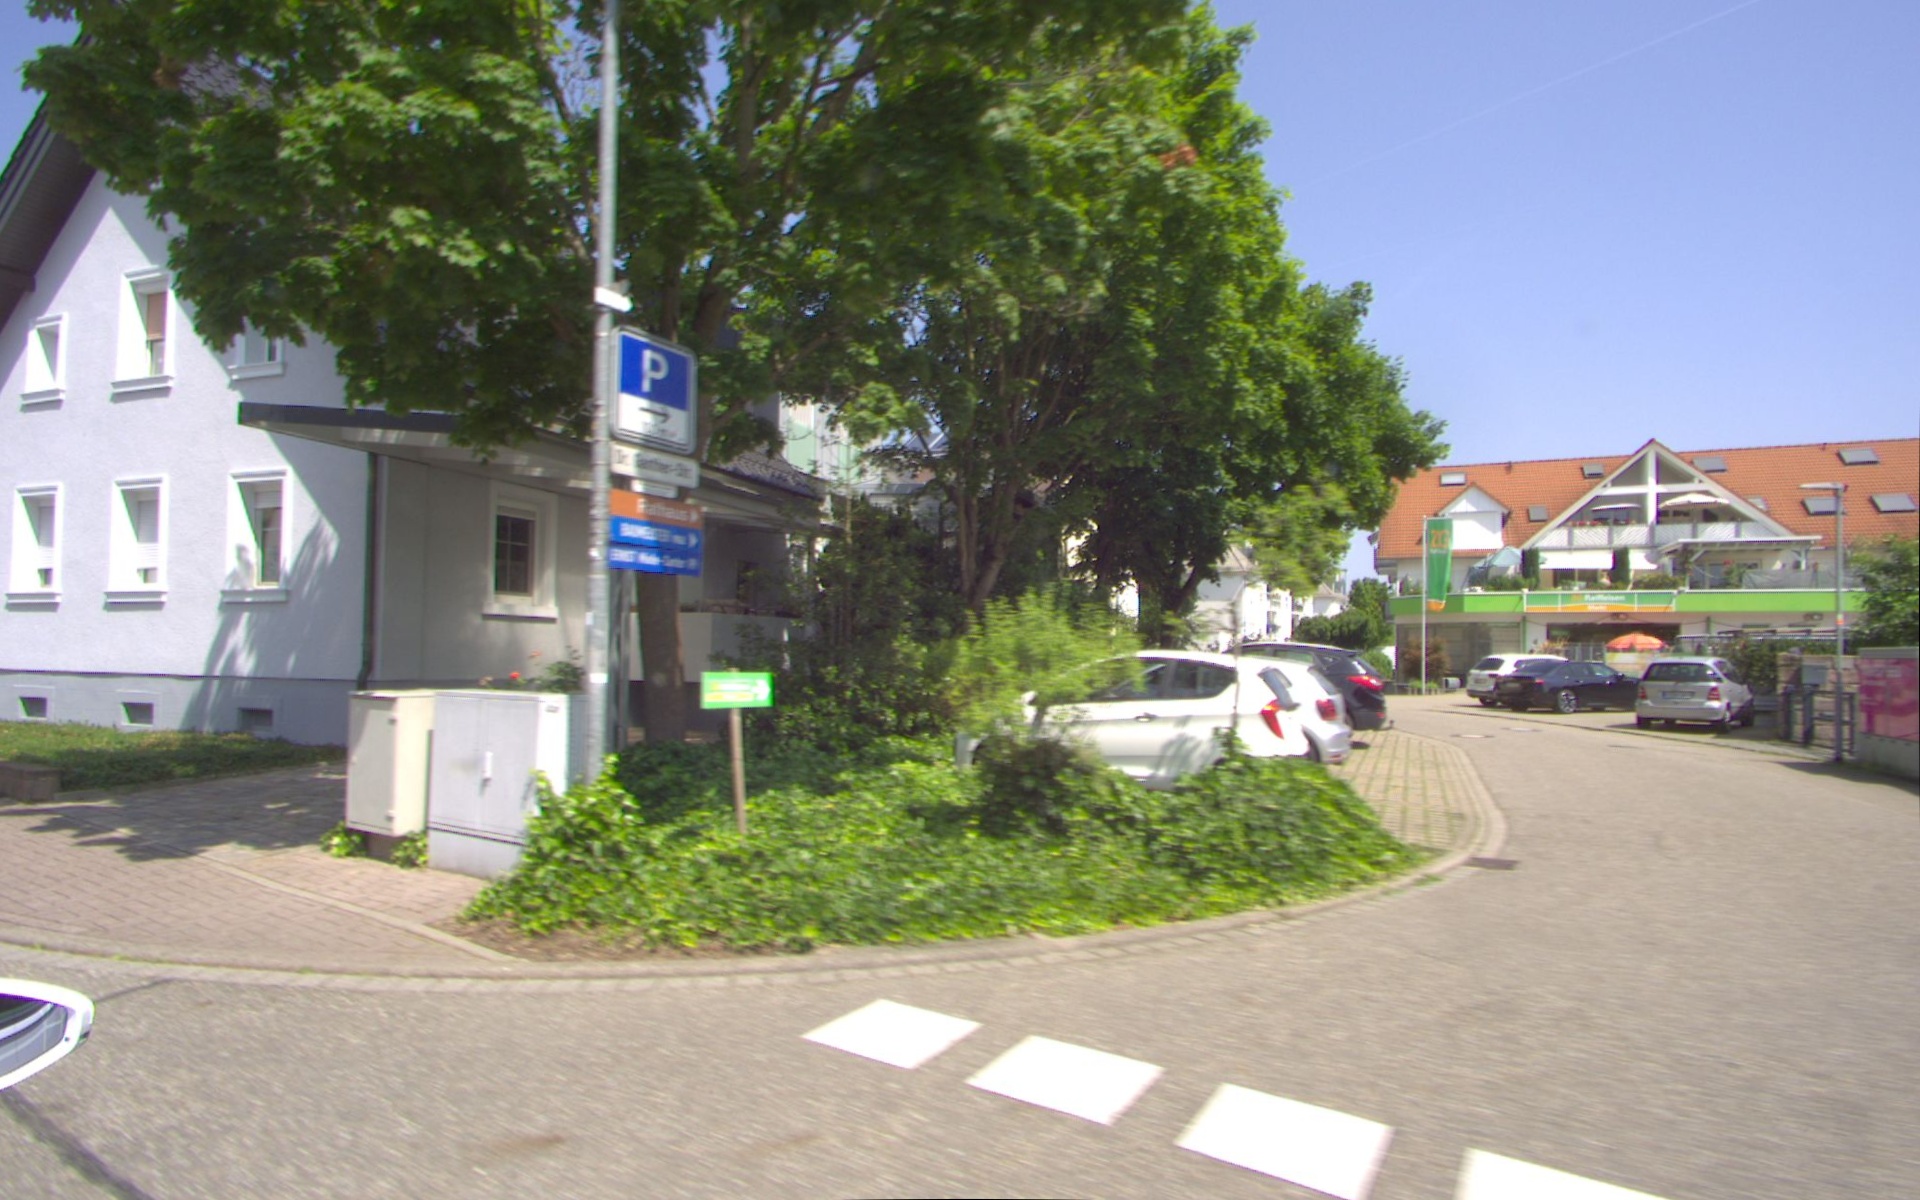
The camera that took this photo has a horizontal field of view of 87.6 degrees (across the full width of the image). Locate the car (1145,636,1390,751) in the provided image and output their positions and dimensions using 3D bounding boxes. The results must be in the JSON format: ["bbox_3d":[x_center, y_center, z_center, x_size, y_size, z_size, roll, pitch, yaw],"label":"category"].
[{"bbox_3d":[5.234,1.529,17.145,3.797,1.704,1.594,1,-2,21],"label":"car"}]

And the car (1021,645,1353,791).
[{"bbox_3d":[2.841,1.372,12.518,3.799,1.492,1.593,1,-2,24],"label":"car"}]

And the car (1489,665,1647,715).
[{"bbox_3d":[17.649,2.615,29.111,3.929,1.323,1.701,2,-2,-15],"label":"car"}]

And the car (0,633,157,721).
[{"bbox_3d":[-15.303,1.240,16.412,1.399,1.362,3.045,-1,-3,24],"label":"car"}]

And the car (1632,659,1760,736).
[{"bbox_3d":[16.601,2.122,22.515,4.059,1.520,1.687,3,-3,-44],"label":"car"}]

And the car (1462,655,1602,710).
[{"bbox_3d":[18.432,2.652,32.275,3.930,1.620,1.701,2,-2,-17],"label":"car"}]

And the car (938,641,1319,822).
[{"bbox_3d":[1.716,1.212,10.184,3.508,1.463,1.593,1,-2,25],"label":"car"}]
